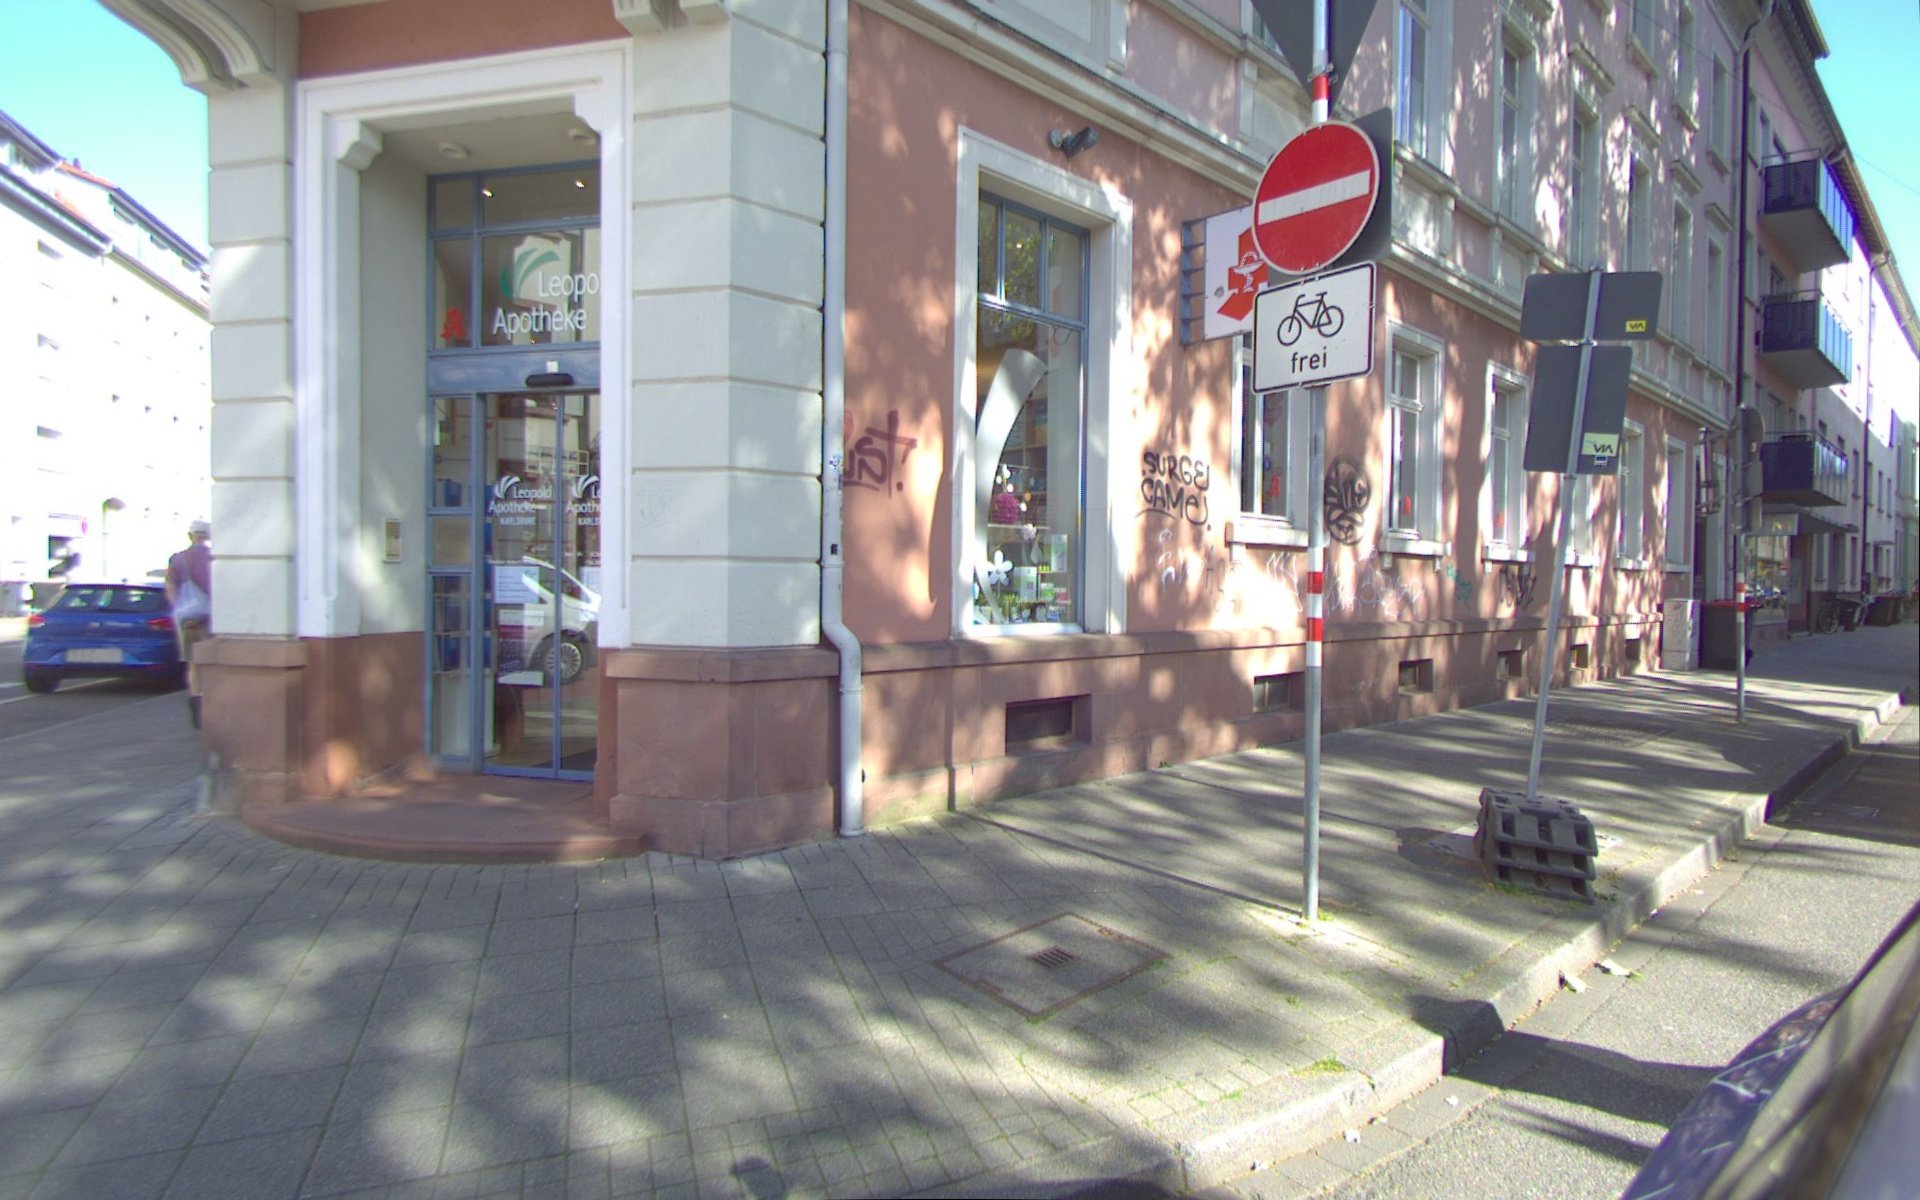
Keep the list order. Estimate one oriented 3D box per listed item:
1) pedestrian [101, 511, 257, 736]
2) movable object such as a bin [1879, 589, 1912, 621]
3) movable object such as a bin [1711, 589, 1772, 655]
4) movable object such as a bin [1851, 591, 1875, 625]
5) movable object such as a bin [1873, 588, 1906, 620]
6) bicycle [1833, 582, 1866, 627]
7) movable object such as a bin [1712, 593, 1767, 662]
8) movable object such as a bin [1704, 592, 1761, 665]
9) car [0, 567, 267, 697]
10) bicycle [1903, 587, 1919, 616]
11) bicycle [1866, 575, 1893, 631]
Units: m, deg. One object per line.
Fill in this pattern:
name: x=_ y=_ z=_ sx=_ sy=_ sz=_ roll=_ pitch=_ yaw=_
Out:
pedestrian: x=-6.656 y=0.173 z=8.630 sx=0.749 sy=1.785 sz=0.818 roll=-2 pitch=3 yaw=44
movable object such as a bin: x=31.396 y=0.155 z=33.955 sx=0.537 sy=1.014 sz=0.716 roll=0 pitch=4 yaw=-43
movable object such as a bin: x=13.962 y=0.377 z=18.082 sx=0.608 sy=1.097 sz=0.717 roll=0 pitch=4 yaw=-43
movable object such as a bin: x=25.818 y=0.230 z=28.936 sx=0.297 sy=0.951 sz=0.415 roll=0 pitch=4 yaw=-43
movable object such as a bin: x=30.894 y=0.136 z=33.643 sx=0.537 sy=1.014 sz=0.716 roll=0 pitch=4 yaw=-43
bicycle: x=23.942 y=0.111 z=27.234 sx=1.990 sy=1.165 sz=0.402 roll=-1 pitch=1 yaw=-42
movable object such as a bin: x=12.725 y=0.434 z=16.524 sx=0.602 sy=1.071 sz=0.570 roll=0 pitch=4 yaw=-43
movable object such as a bin: x=12.303 y=0.434 z=16.117 sx=0.643 sy=1.097 sz=0.570 roll=0 pitch=4 yaw=-43
car: x=-11.051 y=0.346 z=13.817 sx=1.671 sy=1.451 sz=3.648 roll=3 pitch=1 yaw=-19
bicycle: x=36.809 y=0.044 z=38.997 sx=1.899 sy=1.109 sz=0.489 roll=-1 pitch=1 yaw=-42
bicycle: x=29.488 y=0.069 z=32.437 sx=2.070 sy=1.757 sz=0.402 roll=-1 pitch=1 yaw=-42
